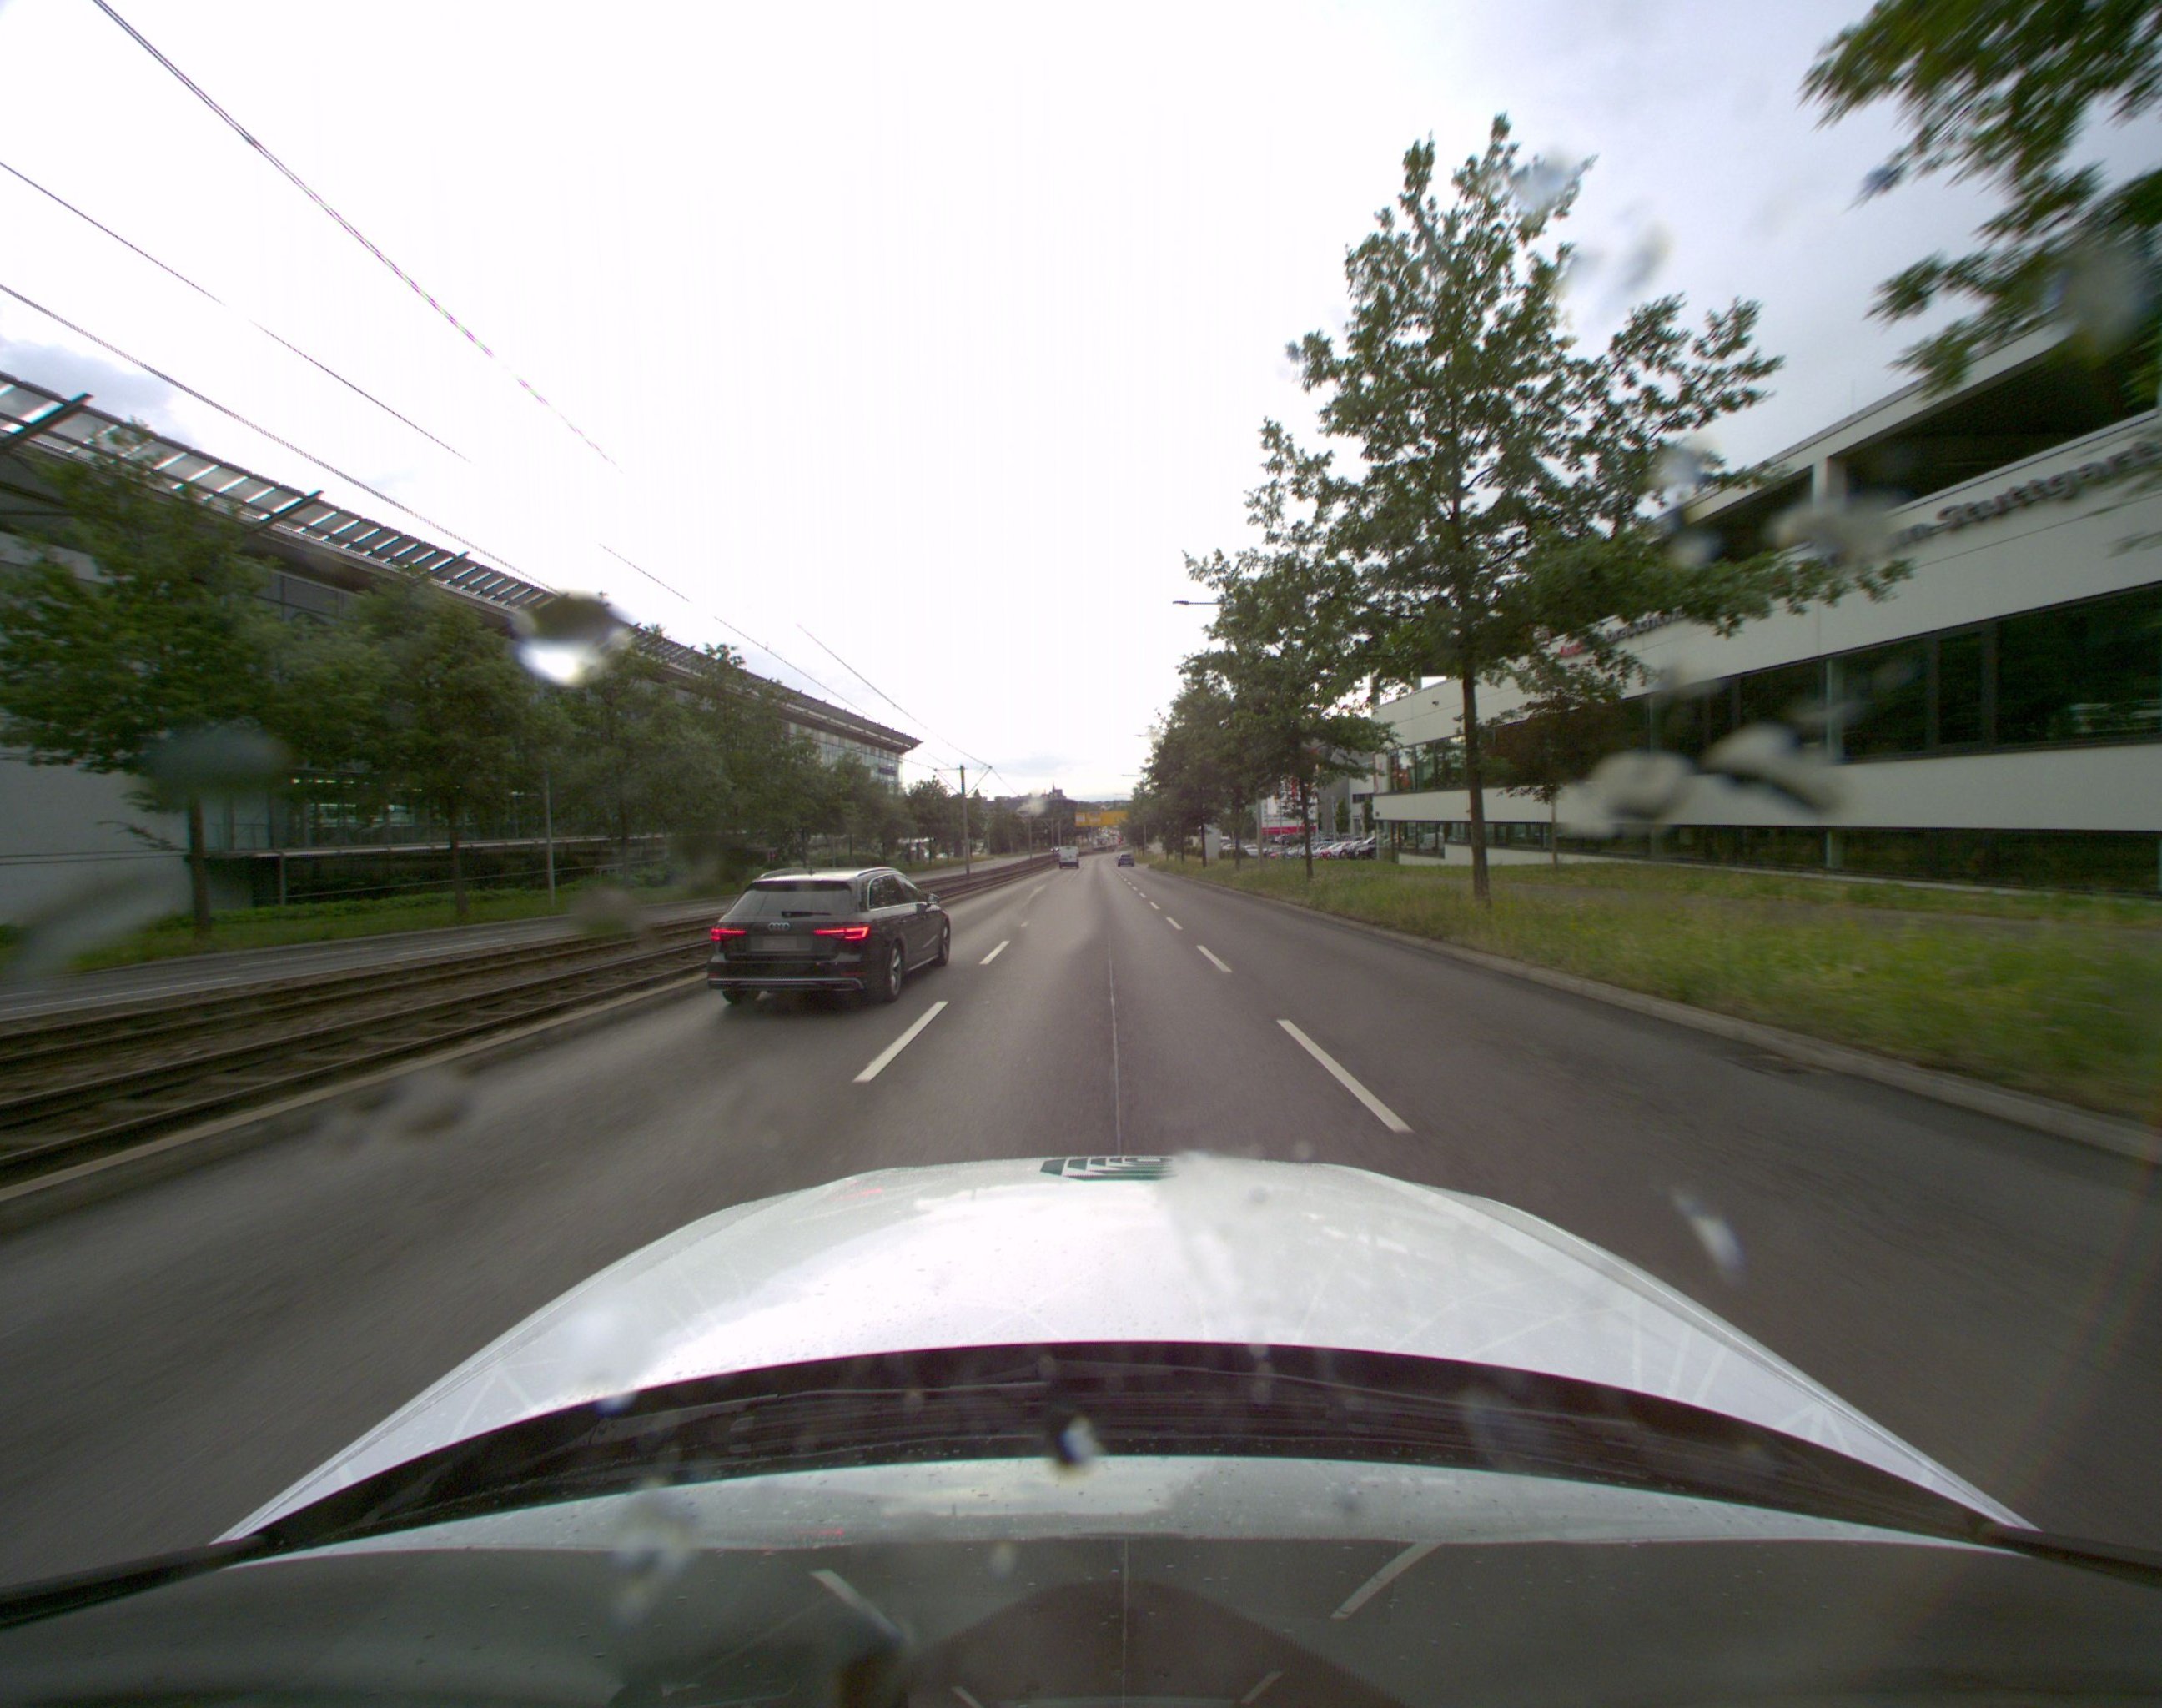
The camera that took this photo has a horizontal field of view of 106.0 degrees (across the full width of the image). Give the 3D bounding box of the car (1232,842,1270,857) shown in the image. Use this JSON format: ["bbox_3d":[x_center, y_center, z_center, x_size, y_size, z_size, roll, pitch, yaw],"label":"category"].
[{"bbox_3d":[20.491,-0.523,98.176,4.102,1.594,1.943,-1,-1,-8],"label":"car"}]

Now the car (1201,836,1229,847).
[{"bbox_3d":[21.900,-2.046,133.395,4.246,1.574,1.692,-1,1,-1],"label":"car"}]

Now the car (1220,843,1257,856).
[{"bbox_3d":[20.837,-0.587,108.007,4.505,1.594,1.692,-2,-1,-1],"label":"car"}]

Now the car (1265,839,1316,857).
[{"bbox_3d":[20.964,-0.600,81.580,4.453,1.551,1.928,-2,-1,-4],"label":"car"}]

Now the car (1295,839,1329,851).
[{"bbox_3d":[32.039,-1.222,113.005,4.092,1.574,1.692,-2,0,-1],"label":"car"}]

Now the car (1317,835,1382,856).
[{"bbox_3d":[20.961,-0.628,63.653,4.383,1.348,1.930,-3,-1,0],"label":"car"}]

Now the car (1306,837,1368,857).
[{"bbox_3d":[20.990,-0.576,66.820,4.447,1.456,1.931,-2,-1,0],"label":"car"}]

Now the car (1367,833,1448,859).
[{"bbox_3d":[20.845,-0.479,52.062,4.383,1.481,1.931,-2,-1,0],"label":"car"}]

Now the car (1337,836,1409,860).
[{"bbox_3d":[20.693,-0.425,57.847,4.382,1.500,2.040,-3,-1,0],"label":"car"}]

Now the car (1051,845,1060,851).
[{"bbox_3d":[-6.831,-1.633,221.653,1.875,1.520,4.408,-5,1,3],"label":"car"}]

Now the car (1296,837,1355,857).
[{"bbox_3d":[20.901,-0.554,69.853,4.447,1.456,1.931,-3,-1,0],"label":"car"}]

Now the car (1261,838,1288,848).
[{"bbox_3d":[31.730,-1.858,133.457,4.092,1.574,1.692,-1,1,-1],"label":"car"}]

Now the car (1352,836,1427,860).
[{"bbox_3d":[20.596,-0.398,54.531,4.308,1.378,1.835,-3,-1,-2],"label":"car"}]

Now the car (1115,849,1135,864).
[{"bbox_3d":[4.868,0.238,90.596,2.015,1.623,3.998,0,0,-1],"label":"car"}]

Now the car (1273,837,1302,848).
[{"bbox_3d":[31.805,-1.731,125.598,4.092,1.574,1.692,-1,1,-1],"label":"car"}]

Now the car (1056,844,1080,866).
[{"bbox_3d":[-1.399,0.104,85.979,2.504,2.177,5.146,0,0,-1],"label":"car"}]

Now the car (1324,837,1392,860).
[{"bbox_3d":[20.622,-0.407,60.648,4.382,1.427,1.890,-3,-1,0],"label":"car"}]

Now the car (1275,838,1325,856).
[{"bbox_3d":[21.074,-0.660,78.505,4.265,1.593,1.825,-2,-1,-2],"label":"car"}]

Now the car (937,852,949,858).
[{"bbox_3d":[-35.527,0.309,209.614,2.006,1.510,3.961,0,0,-30],"label":"car"}]

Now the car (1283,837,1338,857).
[{"bbox_3d":[21.282,-0.623,75.635,4.447,1.551,1.931,-3,-1,0],"label":"car"}]

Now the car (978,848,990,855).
[{"bbox_3d":[-23.474,-0.713,197.814,1.983,1.650,4.007,0,0,6],"label":"car"}]

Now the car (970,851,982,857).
[{"bbox_3d":[-27.419,0.015,212.879,2.003,1.510,3.968,0,0,-24],"label":"car"}]

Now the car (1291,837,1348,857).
[{"bbox_3d":[21.272,-0.631,72.653,4.447,1.528,1.931,-3,-1,0],"label":"car"}]

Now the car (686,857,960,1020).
[{"bbox_3d":[-2.752,0.795,9.915,1.758,1.463,4.627,-1,0,1],"label":"car"}]

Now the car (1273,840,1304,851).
[{"bbox_3d":[30.651,-1.236,120.369,4.092,1.574,1.825,-1,1,-1],"label":"car"}]
